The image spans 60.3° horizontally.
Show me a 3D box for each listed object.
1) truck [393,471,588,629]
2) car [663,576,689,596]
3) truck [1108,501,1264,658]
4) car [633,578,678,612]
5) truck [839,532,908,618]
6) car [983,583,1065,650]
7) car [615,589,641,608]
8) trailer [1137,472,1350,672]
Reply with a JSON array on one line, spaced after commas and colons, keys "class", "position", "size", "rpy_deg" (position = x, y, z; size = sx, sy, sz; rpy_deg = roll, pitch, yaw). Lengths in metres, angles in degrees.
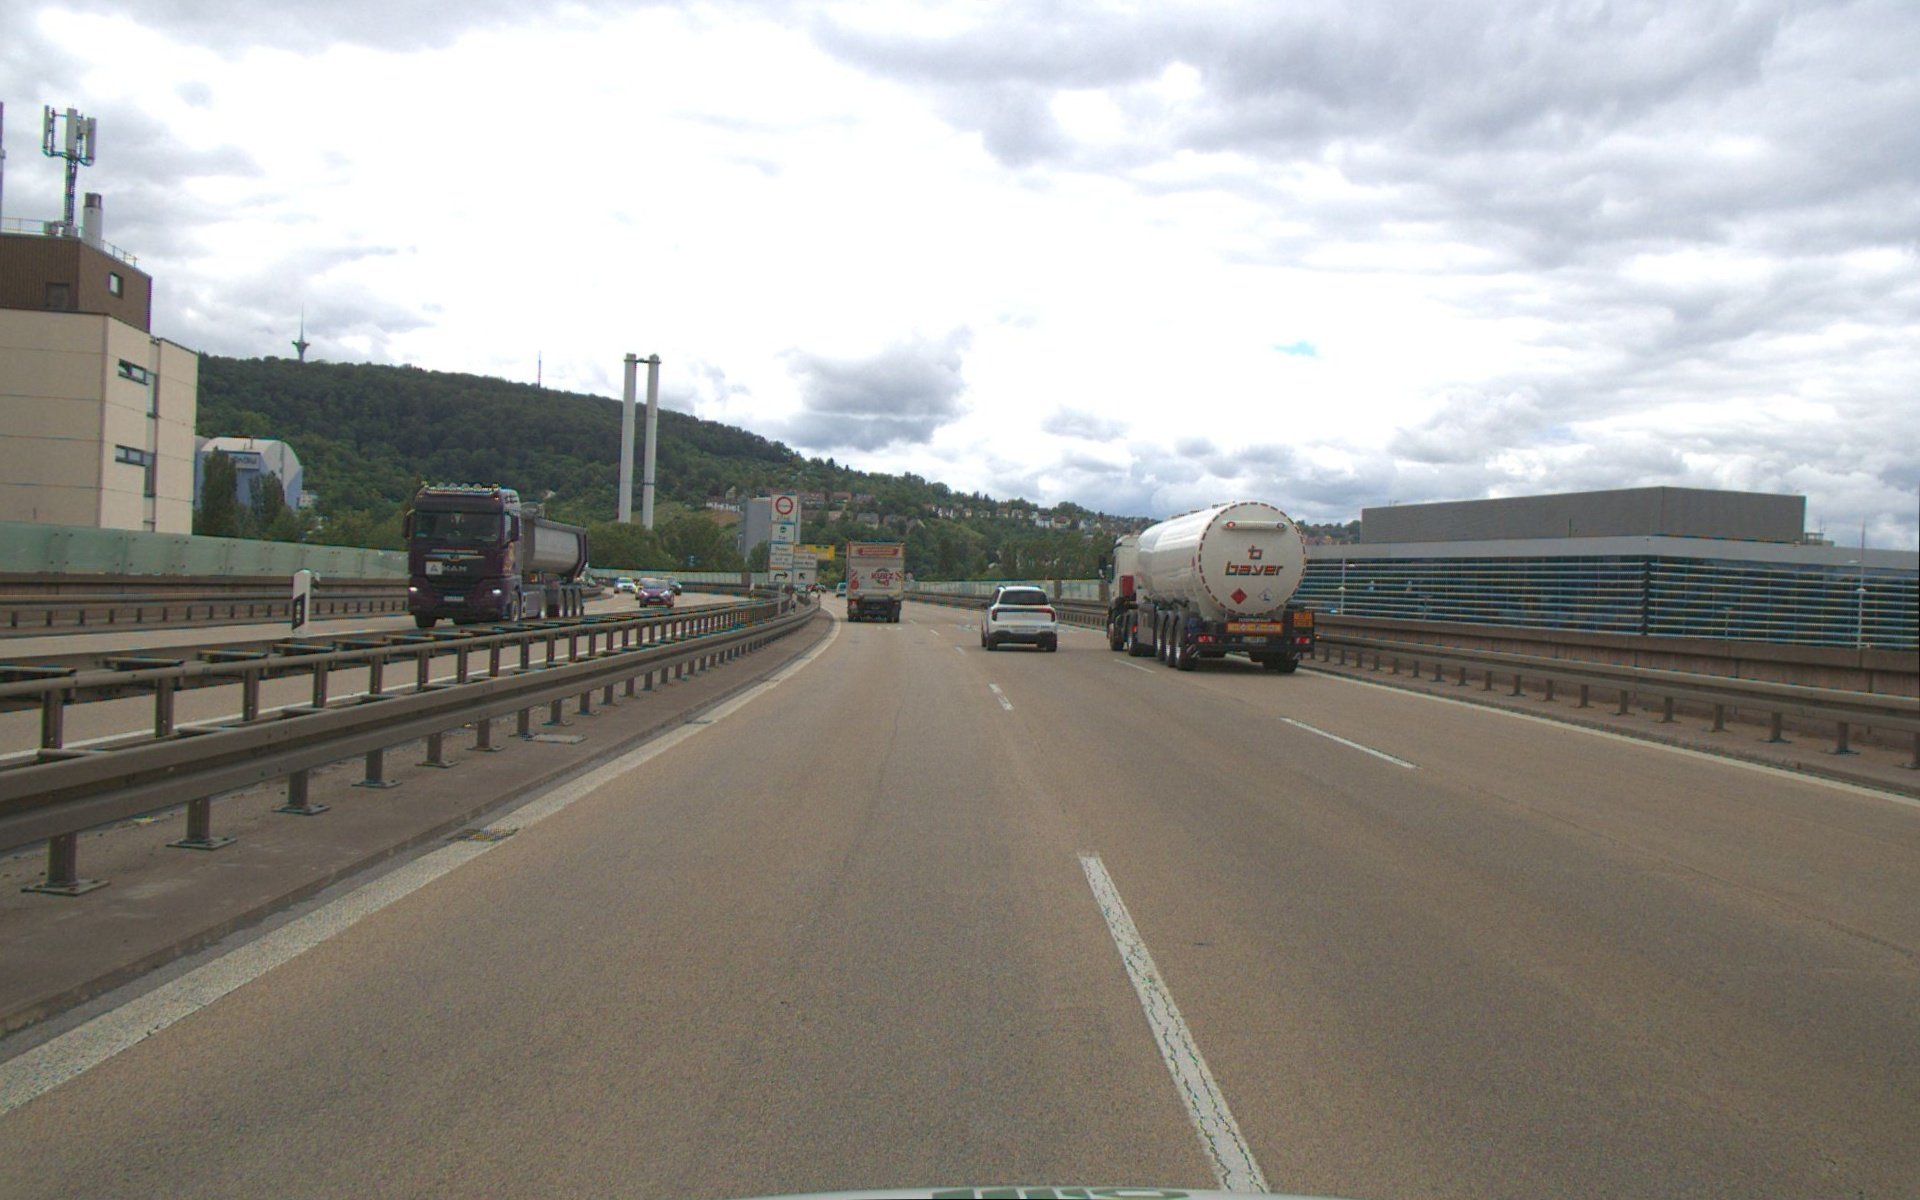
[{"class": "truck", "position": [-13.013, -1.223, 47.112], "size": [2.755, 3.876, 12.010], "rpy_deg": [1, 0, -3]}, {"class": "car", "position": [-25.223, -1.203, 146.947], "size": [1.955, 1.704, 4.401], "rpy_deg": [1, 0, -7]}, {"class": "truck", "position": [5.722, -0.477, 42.911], "size": [2.954, 3.721, 6.270], "rpy_deg": [1, -1, -2]}, {"class": "car", "position": [-15.998, -0.234, 86.944], "size": [1.955, 1.704, 4.402], "rpy_deg": [1, 0, -6]}, {"class": "truck", "position": [-4.013, -1.090, 77.920], "size": [2.995, 3.755, 8.300], "rpy_deg": [1, 0, -2]}, {"class": "car", "position": [1.674, 0.438, 44.539], "size": [1.953, 1.704, 4.407], "rpy_deg": [1, 0, -1]}, {"class": "car", "position": [-30.765, -0.121, 153.333], "size": [1.955, 1.704, 4.401], "rpy_deg": [1, 0, -7]}, {"class": "trailer", "position": [5.975, -0.522, 36.407], "size": [2.995, 3.856, 8.300], "rpy_deg": [1, 0, -2]}]
